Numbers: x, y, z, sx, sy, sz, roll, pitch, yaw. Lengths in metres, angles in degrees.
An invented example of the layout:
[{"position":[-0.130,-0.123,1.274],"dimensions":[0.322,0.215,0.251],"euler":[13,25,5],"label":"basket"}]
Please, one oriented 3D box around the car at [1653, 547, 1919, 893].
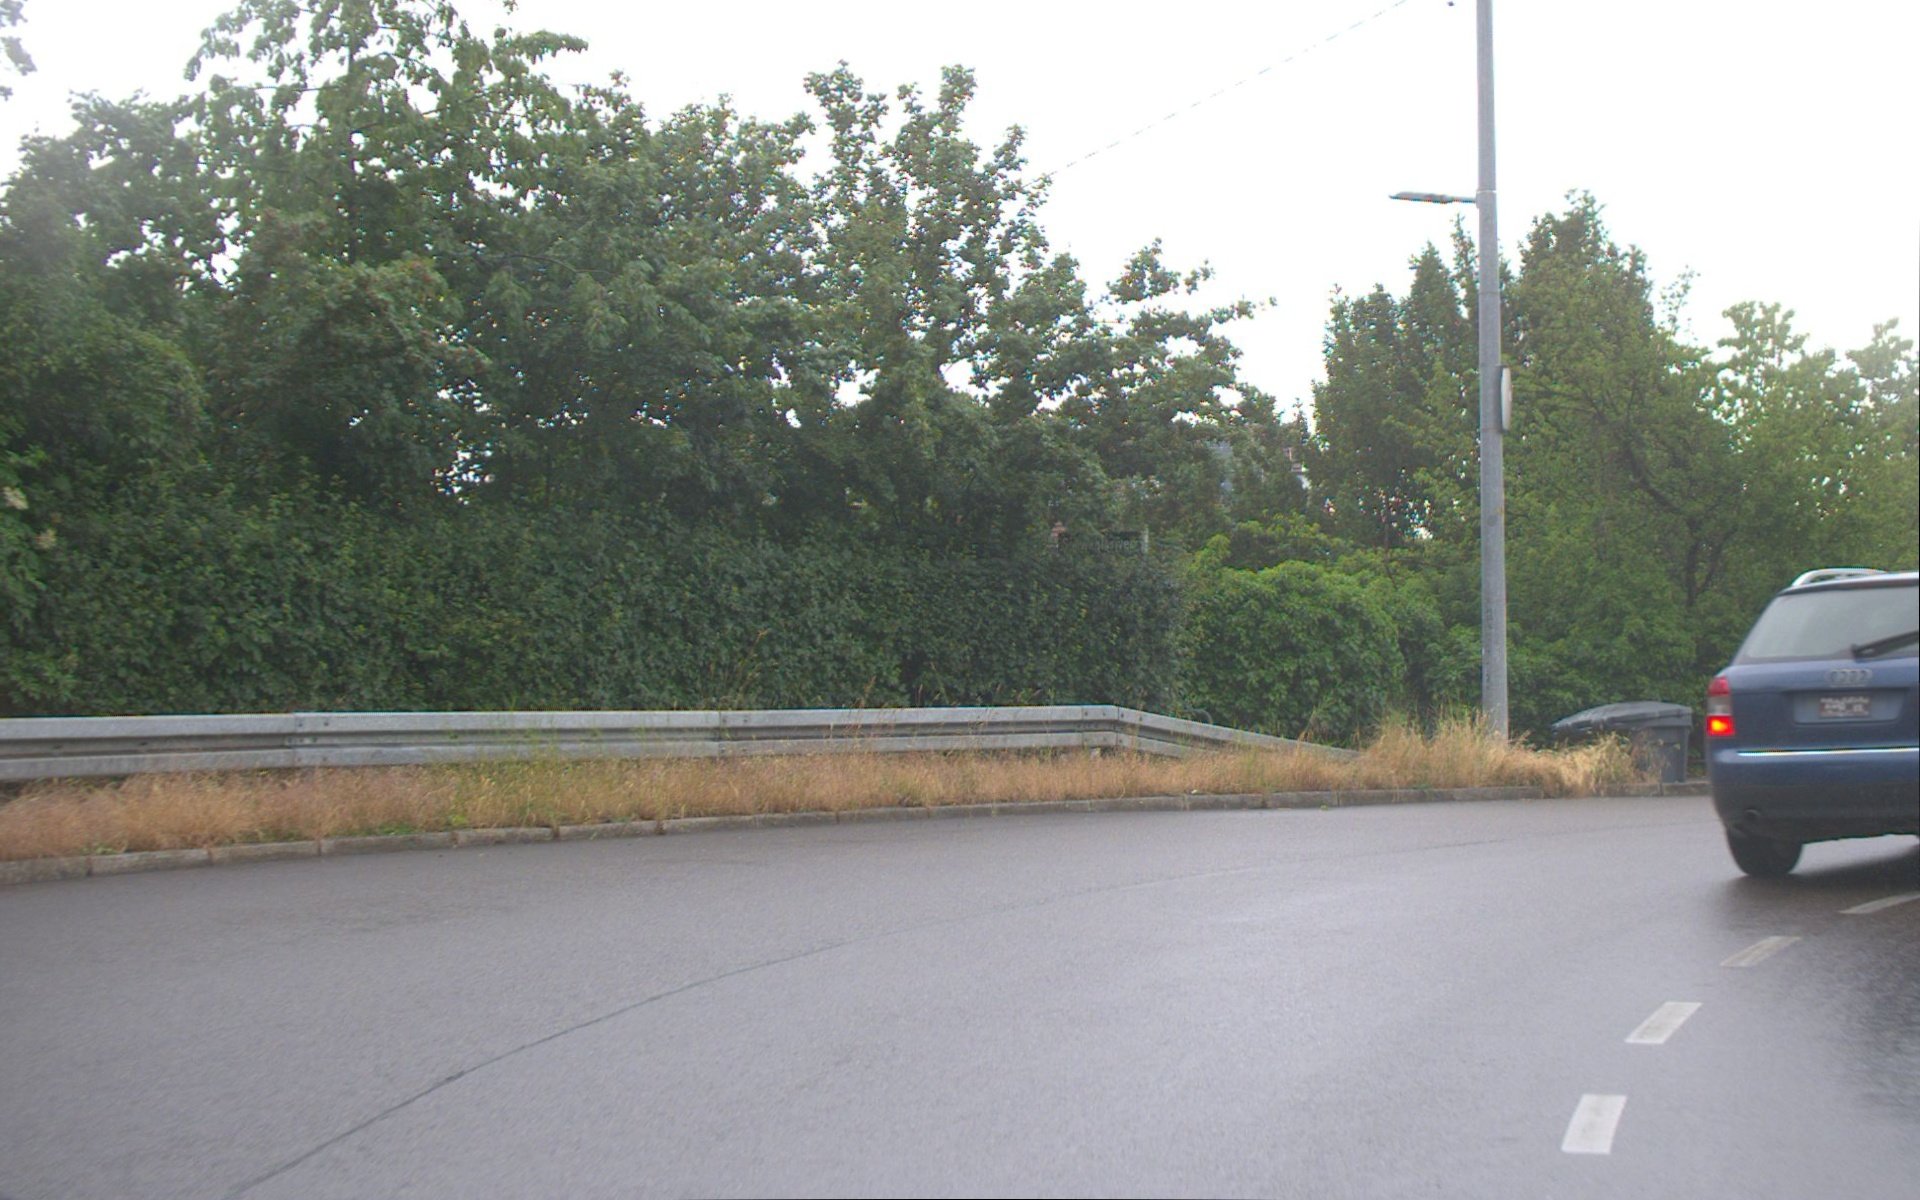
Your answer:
[{"position":[4.971,0.478,16.576],"dimensions":[1.750,1.402,3.993],"euler":[-1,2,34],"label":"car"}]
